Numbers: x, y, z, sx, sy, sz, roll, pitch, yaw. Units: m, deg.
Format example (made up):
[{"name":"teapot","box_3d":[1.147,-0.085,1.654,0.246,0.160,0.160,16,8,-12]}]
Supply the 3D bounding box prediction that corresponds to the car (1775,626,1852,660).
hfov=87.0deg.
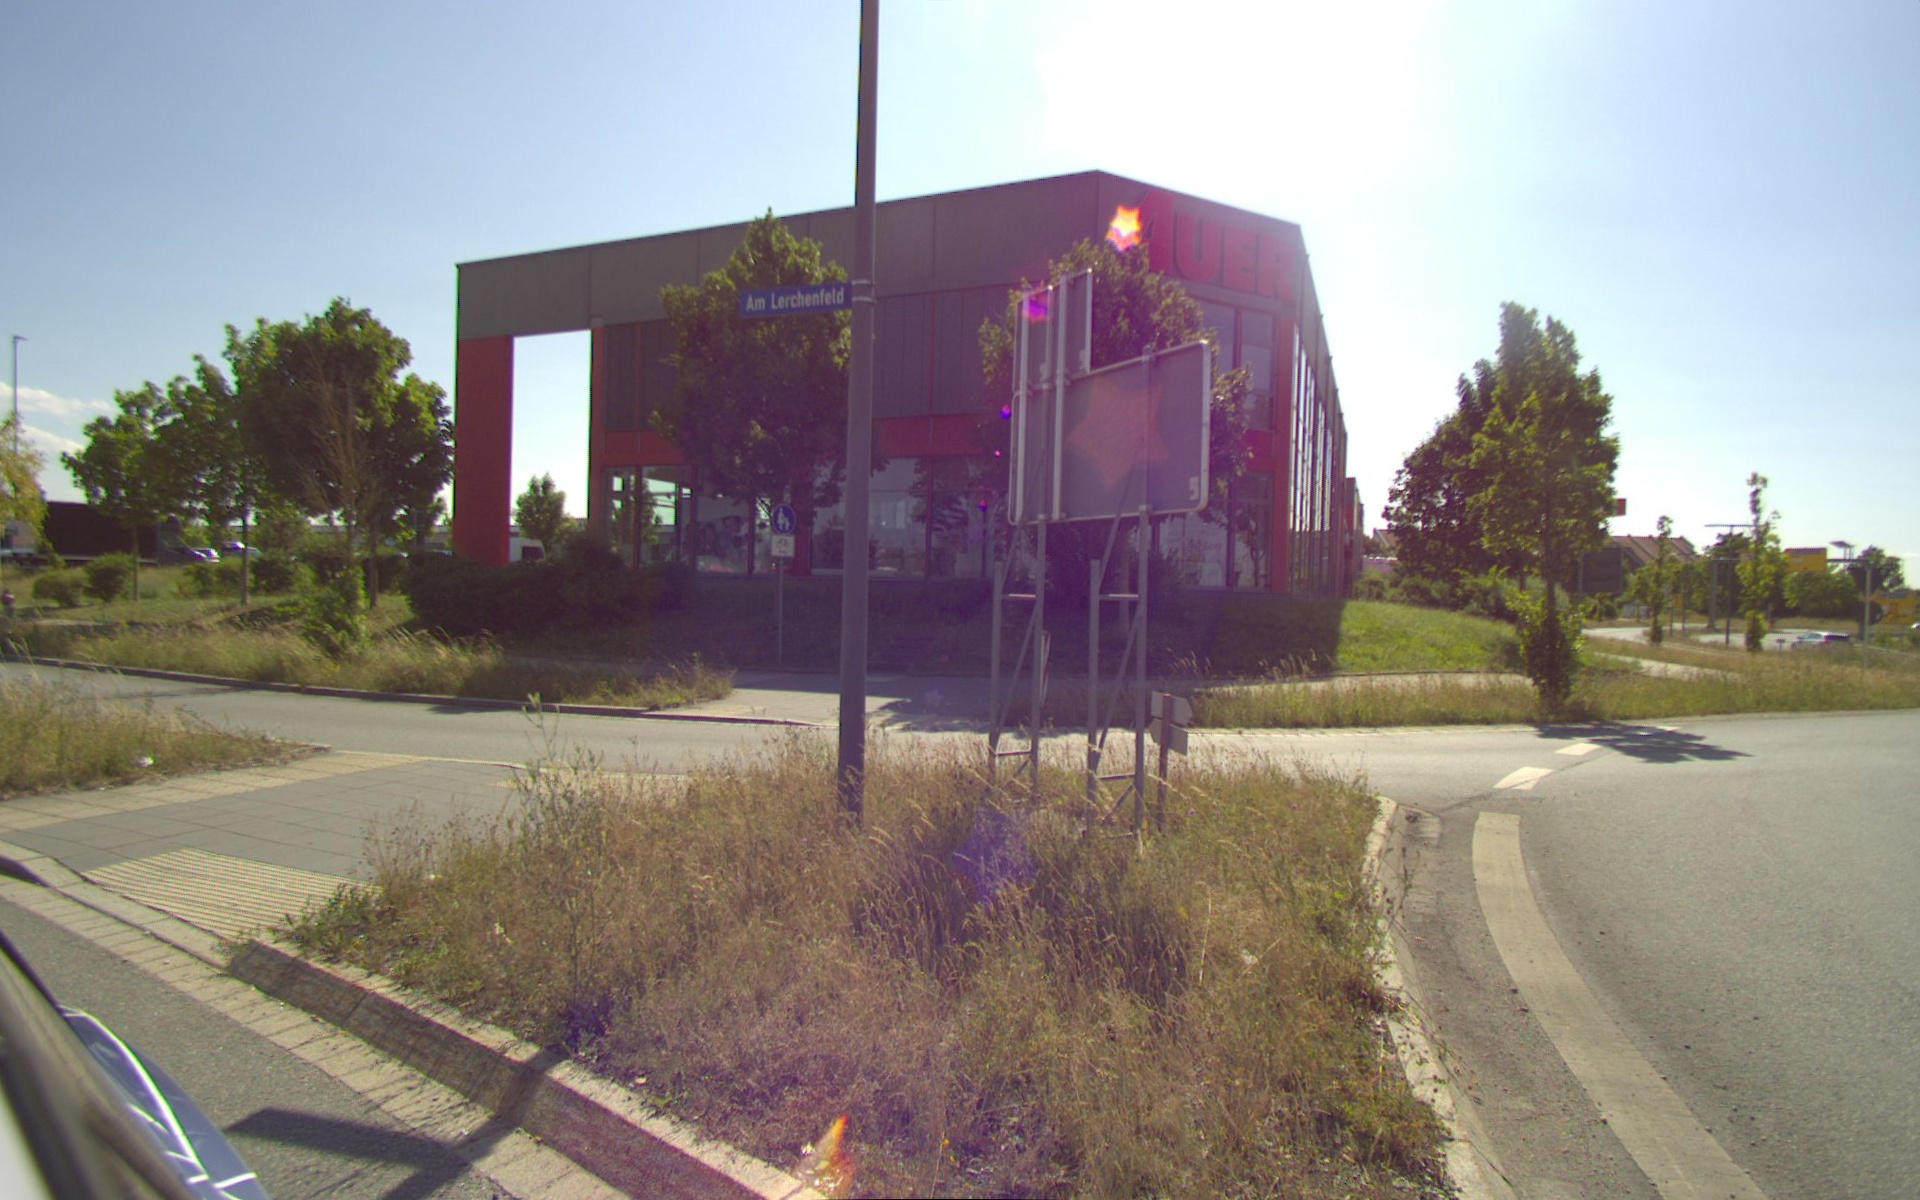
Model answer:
[{"name":"car","box_3d":[48.749,2.422,57.914,1.674,1.786,3.756,1,0,10]}]
